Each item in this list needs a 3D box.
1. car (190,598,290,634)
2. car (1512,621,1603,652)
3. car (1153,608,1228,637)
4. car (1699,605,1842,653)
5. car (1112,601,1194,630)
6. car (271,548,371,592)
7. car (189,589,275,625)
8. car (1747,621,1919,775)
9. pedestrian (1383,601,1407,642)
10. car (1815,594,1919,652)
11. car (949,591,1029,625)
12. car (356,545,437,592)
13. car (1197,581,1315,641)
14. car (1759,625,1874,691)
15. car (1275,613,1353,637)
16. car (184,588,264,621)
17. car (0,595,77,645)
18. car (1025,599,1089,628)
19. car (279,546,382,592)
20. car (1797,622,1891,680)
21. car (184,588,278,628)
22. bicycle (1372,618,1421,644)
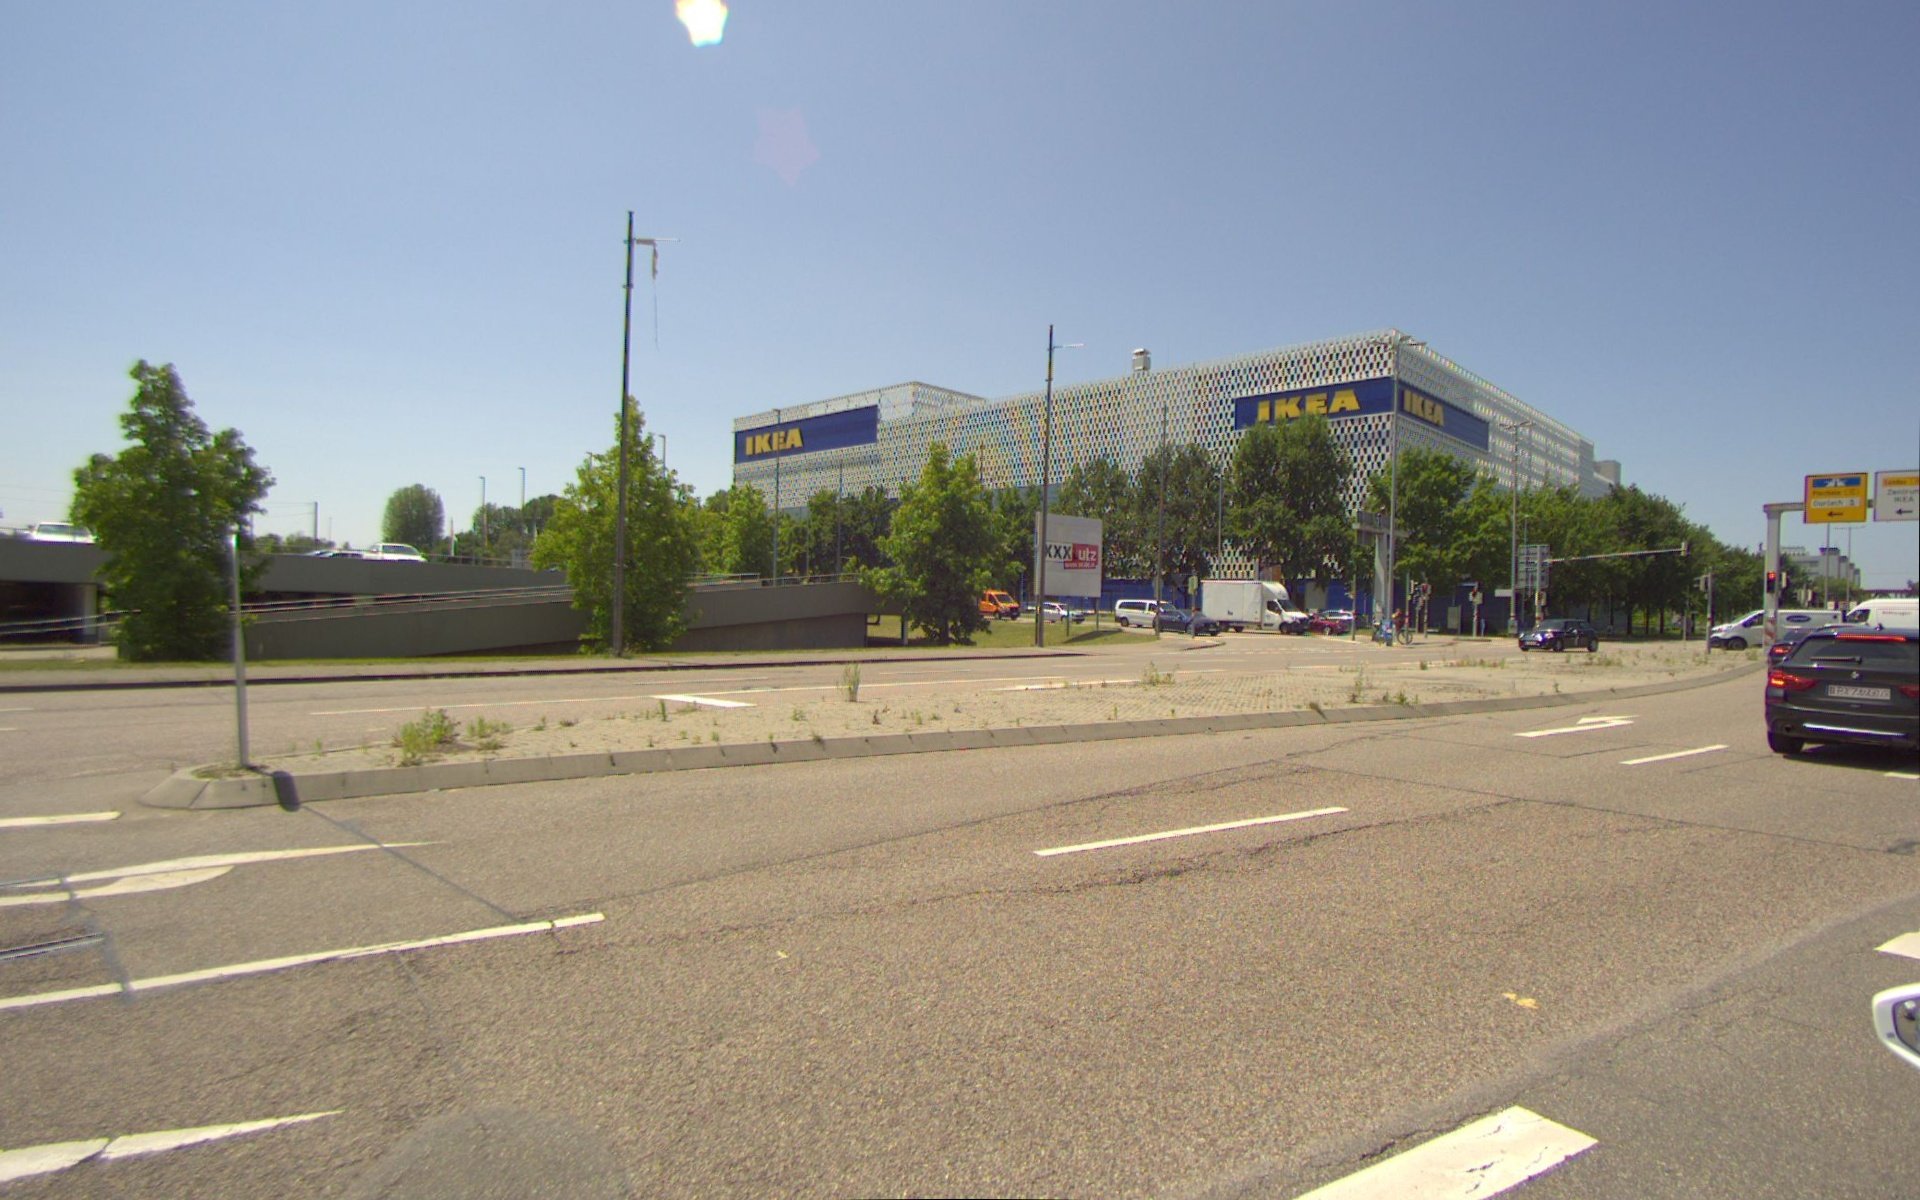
[{"bbox_3d":[-36.810,0.846,51.364,3.970,1.751,1.976,2,-1,-42],"label":"car"},{"bbox_3d":[26.222,1.578,44.045,3.848,1.320,1.847,1,-1,-31],"label":"car"},{"bbox_3d":[13.342,1.290,58.254,1.914,1.528,3.959,1,-1,-36],"label":"car"},{"bbox_3d":[36.720,1.278,45.671,4.754,1.875,1.833,2,1,30],"label":"car"},{"bbox_3d":[13.090,1.057,68.559,1.985,1.835,5.405,1,0,-41],"label":"car"},{"bbox_3d":[-32.597,-1.488,51.279,1.973,2.040,3.975,1,-1,45],"label":"car"},{"bbox_3d":[-43.229,0.428,59.706,3.969,2.040,1.976,2,-1,-41],"label":"car"},{"bbox_3d":[11.123,1.023,11.810,4.579,1.485,1.787,1,1,-37],"label":"car"},{"bbox_3d":[21.785,1.069,50.271,0.893,2.040,0.861,1,0,39],"label":"pedestrian"},{"bbox_3d":[44.371,1.081,47.605,1.980,2.601,5.455,2,1,-34],"label":"car"},{"bbox_3d":[2.277,0.610,80.942,2.557,2.568,6.547,2,-1,-42],"label":"car"},{"bbox_3d":[-23.260,-1.241,41.381,1.986,1.791,4.148,2,-1,-43],"label":"car"},{"bbox_3d":[18.298,0.591,62.450,2.168,3.533,6.833,-1,2,-44],"label":"car"},{"bbox_3d":[21.069,1.349,24.642,4.503,1.409,1.731,1,0,-44],"label":"car"},{"bbox_3d":[21.991,1.531,62.534,1.764,1.360,4.240,0,1,-44],"label":"car"},{"bbox_3d":[-47.829,0.289,65.305,3.971,2.040,1.975,2,-1,-43],"label":"car"},{"bbox_3d":[-32.823,0.677,35.656,1.987,1.660,3.947,2,-1,-45],"label":"car"},{"bbox_3d":[7.231,1.023,75.124,1.986,2.040,4.653,2,-1,-43],"label":"car"},{"bbox_3d":[-31.070,-1.474,49.656,1.973,2.040,3.975,1,-1,45],"label":"car"},{"bbox_3d":[25.953,1.441,29.596,1.775,1.514,3.983,2,1,38],"label":"car"},{"bbox_3d":[-39.619,0.457,54.612,3.968,2.040,1.977,2,-1,-40],"label":"car"},{"bbox_3d":[21.816,1.546,50.219,2.067,1.229,0.992,1,0,39],"label":"bicycle"}]
